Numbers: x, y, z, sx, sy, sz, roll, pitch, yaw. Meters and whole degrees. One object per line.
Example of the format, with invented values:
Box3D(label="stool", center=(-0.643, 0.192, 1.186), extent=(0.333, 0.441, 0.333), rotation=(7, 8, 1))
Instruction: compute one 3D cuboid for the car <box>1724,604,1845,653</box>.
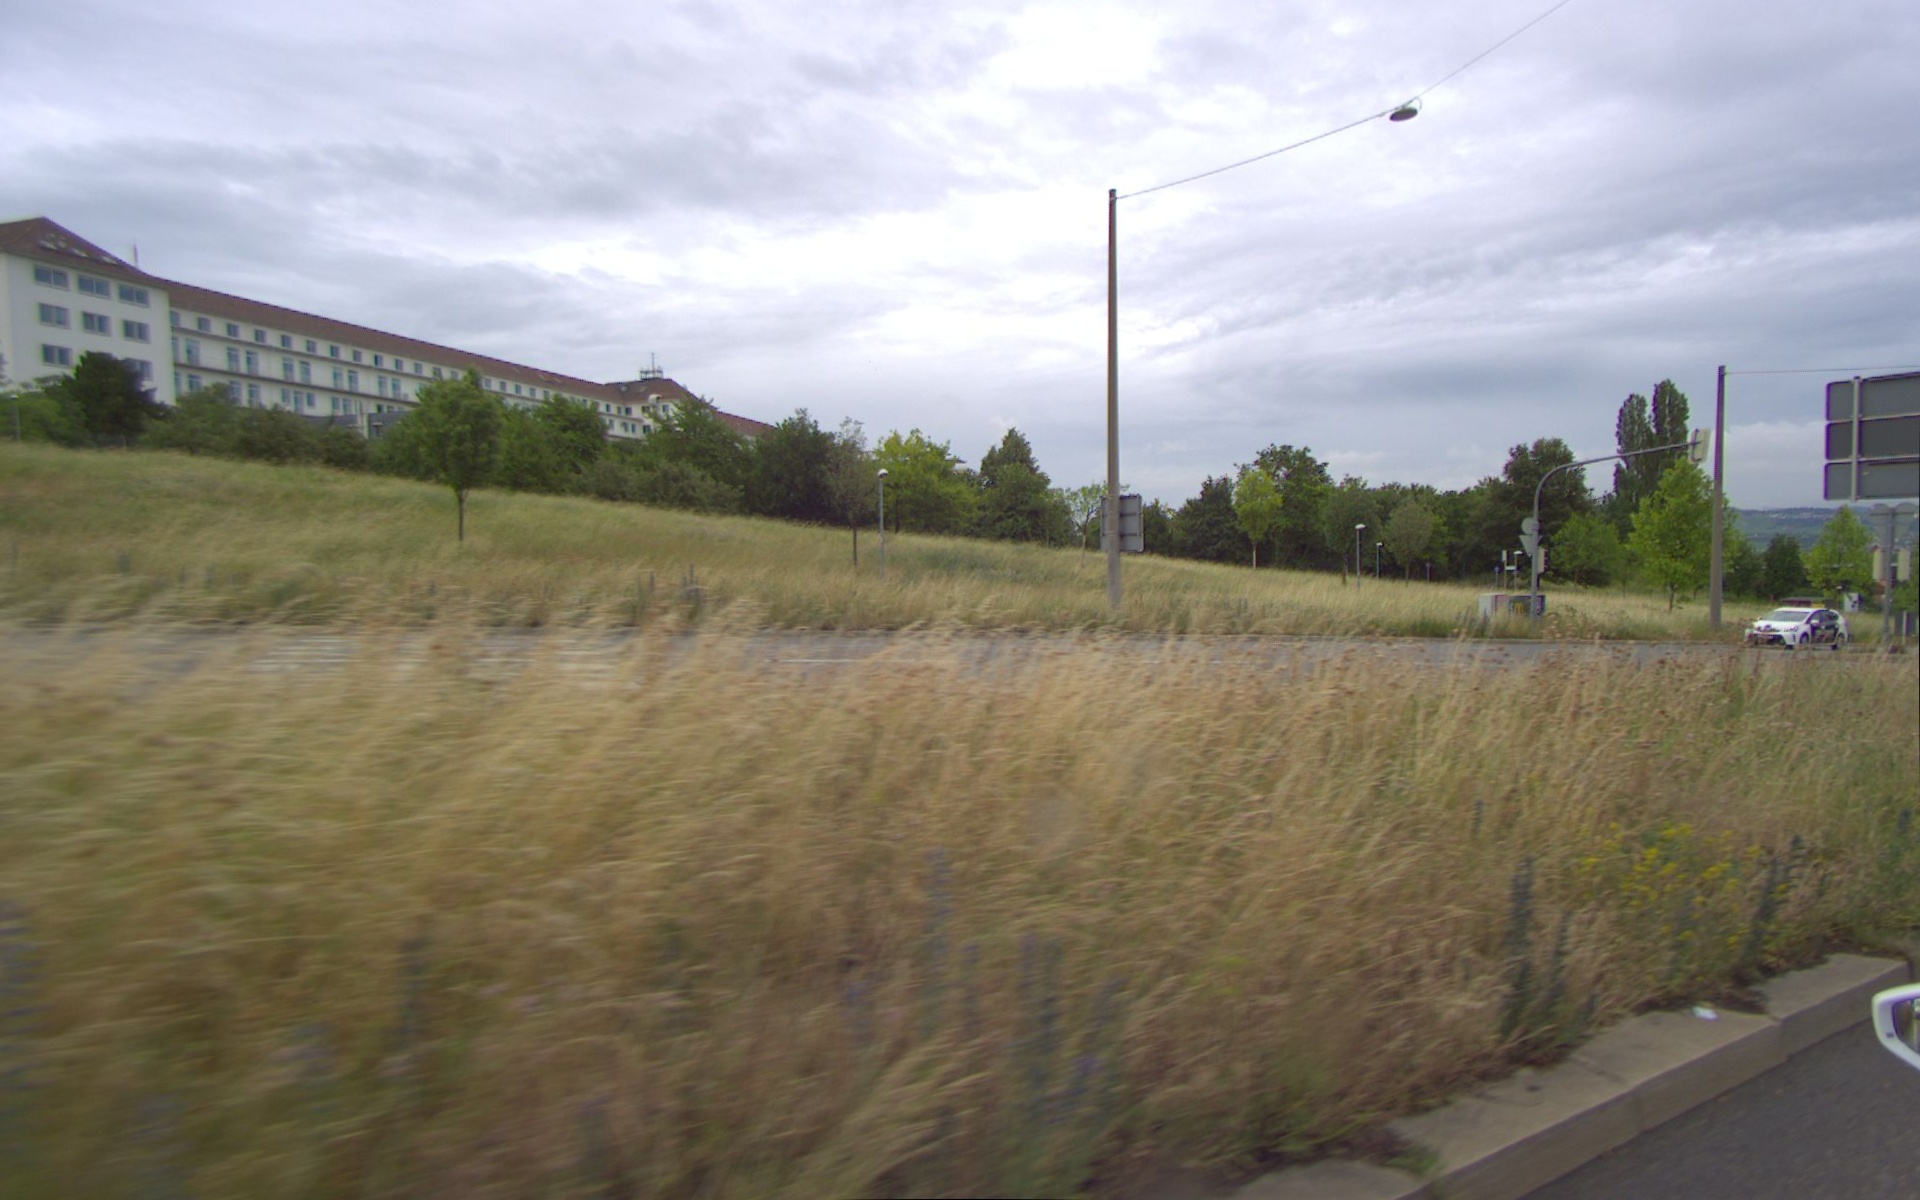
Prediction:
Box3D(label="car", center=(31.618, 1.106, 38.491), extent=(4.617, 1.633, 1.878), rotation=(2, 1, -27))
